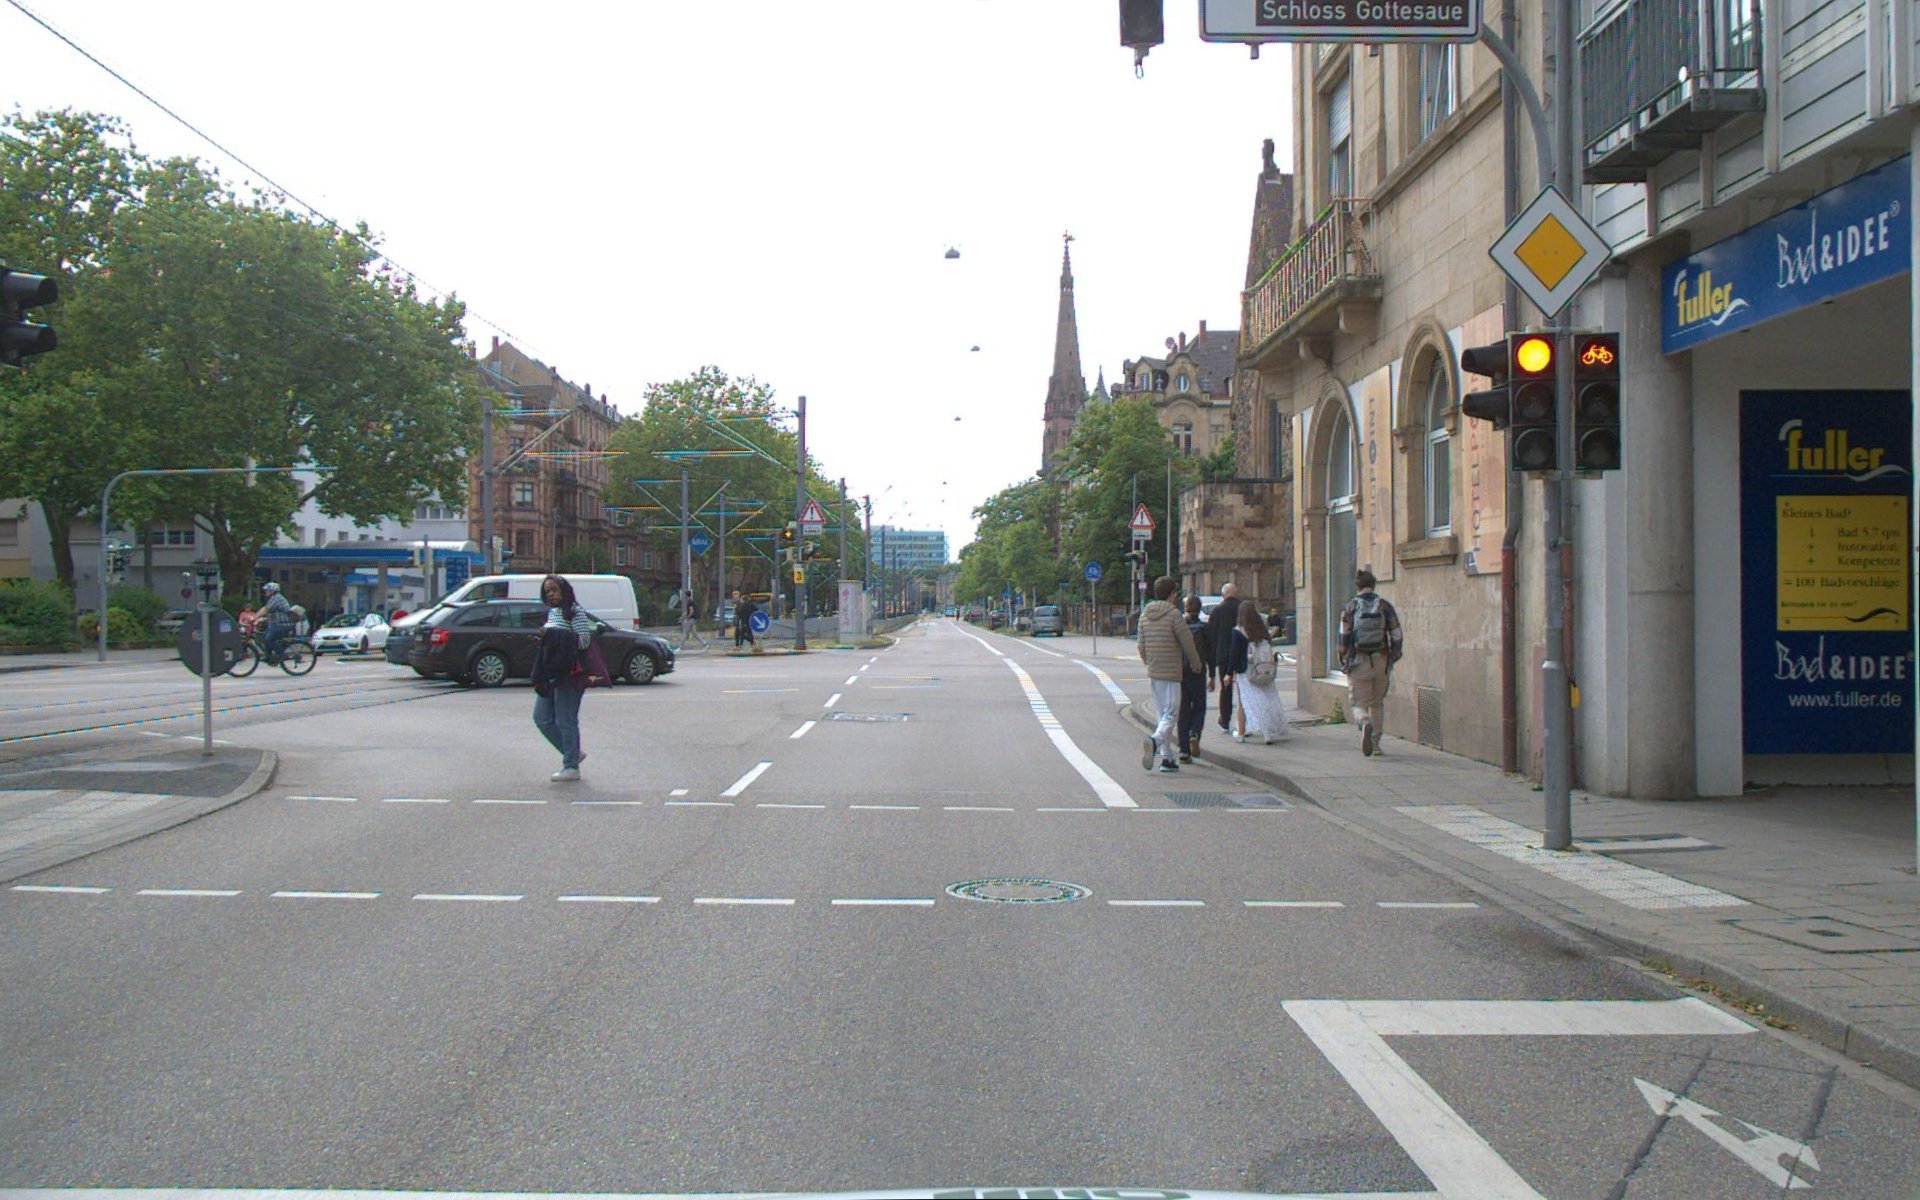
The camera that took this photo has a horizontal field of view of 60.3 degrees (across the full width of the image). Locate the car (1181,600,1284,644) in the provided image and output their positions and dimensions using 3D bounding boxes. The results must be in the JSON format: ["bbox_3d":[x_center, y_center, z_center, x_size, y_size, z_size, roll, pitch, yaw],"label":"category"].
[{"bbox_3d":[10.685,0.848,65.056,3.721,1.629,2.000,1,-1,-1],"label":"car"}]

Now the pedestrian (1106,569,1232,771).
[{"bbox_3d":[1.959,0.647,15.531,0.998,1.845,0.580,1,-1,-24],"label":"pedestrian"}]

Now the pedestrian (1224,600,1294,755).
[{"bbox_3d":[3.205,0.816,17.780,0.685,1.621,0.831,1,-1,7],"label":"pedestrian"}]

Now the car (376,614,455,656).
[{"bbox_3d":[-21.387,1.348,65.069,1.856,1.585,3.835,1,-1,-1],"label":"car"}]

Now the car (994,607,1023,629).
[{"bbox_3d":[3.756,1.421,128.519,1.953,1.635,4.163,-2,0,-1],"label":"car"}]

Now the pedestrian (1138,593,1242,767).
[{"bbox_3d":[2.318,0.785,16.613,0.616,1.681,0.993,0,-1,36],"label":"pedestrian"}]

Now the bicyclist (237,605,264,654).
[{"bbox_3d":[-23.568,0.970,54.949,0.576,1.595,0.618,1,-1,-1],"label":"bicyclist"}]

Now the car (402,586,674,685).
[{"bbox_3d":[-7.345,0.623,28.893,4.283,1.614,1.793,1,-1,-32],"label":"car"}]

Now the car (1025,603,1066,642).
[{"bbox_3d":[4.644,1.197,90.165,1.953,2.049,3.999,1,-1,-1],"label":"car"}]

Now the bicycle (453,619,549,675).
[{"bbox_3d":[-9.855,1.007,35.534,1.910,1.155,0.731,1,-1,-22],"label":"bicycle"}]

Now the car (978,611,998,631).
[{"bbox_3d":[2.919,2.144,172.406,1.953,2.049,3.999,1,-1,-1],"label":"car"}]

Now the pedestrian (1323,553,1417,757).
[{"bbox_3d":[3.817,0.504,15.456,0.613,1.809,1.135,-3,-1,6],"label":"pedestrian"}]

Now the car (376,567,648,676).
[{"bbox_3d":[-8.684,0.442,32.155,4.805,2.001,1.972,1,-1,-27],"label":"car"}]

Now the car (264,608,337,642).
[{"bbox_3d":[-31.855,1.181,79.977,1.953,1.557,3.999,1,-1,-1],"label":"car"}]

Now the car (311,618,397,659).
[{"bbox_3d":[-21.413,1.332,58.586,1.601,1.349,3.999,1,-1,-1],"label":"car"}]

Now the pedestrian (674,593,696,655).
[{"bbox_3d":[-8.206,0.709,49.388,0.562,1.826,0.518,1,-1,-5],"label":"pedestrian"}]

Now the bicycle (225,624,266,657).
[{"bbox_3d":[-23.632,1.337,54.716,0.511,1.035,1.936,1,-1,-1],"label":"bicycle"}]

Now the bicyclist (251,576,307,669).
[{"bbox_3d":[-13.784,0.455,33.473,0.955,1.851,0.527,1,-1,-30],"label":"bicyclist"}]

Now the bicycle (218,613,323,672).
[{"bbox_3d":[-13.896,0.860,33.366,1.880,1.162,0.622,1,-1,-30],"label":"bicycle"}]

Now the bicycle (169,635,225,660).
[{"bbox_3d":[-24.921,1.551,54.003,1.645,0.786,0.656,1,-1,20],"label":"bicycle"}]

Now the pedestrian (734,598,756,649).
[{"bbox_3d":[-6.685,0.717,51.458,0.640,1.564,0.465,1,-1,-5],"label":"pedestrian"}]

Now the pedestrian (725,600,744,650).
[{"bbox_3d":[-7.077,0.783,51.992,0.535,1.564,0.465,1,-1,-5],"label":"pedestrian"}]

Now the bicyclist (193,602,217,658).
[{"bbox_3d":[-24.672,0.970,54.056,0.522,1.815,0.470,1,-1,19],"label":"bicyclist"}]

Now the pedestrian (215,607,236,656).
[{"bbox_3d":[-27.037,1.162,60.897,0.366,1.815,0.552,1,-1,23],"label":"pedestrian"}]

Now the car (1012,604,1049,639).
[{"bbox_3d":[4.215,1.267,99.714,1.953,2.049,3.999,1,-1,-1],"label":"car"}]

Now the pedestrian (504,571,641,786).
[{"bbox_3d":[-3.202,0.626,13.698,0.659,1.709,0.864,0,-1,38],"label":"pedestrian"}]

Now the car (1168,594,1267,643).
[{"bbox_3d":[10.637,0.767,68.466,3.721,1.937,2.000,1,-1,-1],"label":"car"}]

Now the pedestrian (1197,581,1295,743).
[{"bbox_3d":[3.288,0.694,19.016,0.900,1.815,0.645,0,-1,37],"label":"pedestrian"}]
